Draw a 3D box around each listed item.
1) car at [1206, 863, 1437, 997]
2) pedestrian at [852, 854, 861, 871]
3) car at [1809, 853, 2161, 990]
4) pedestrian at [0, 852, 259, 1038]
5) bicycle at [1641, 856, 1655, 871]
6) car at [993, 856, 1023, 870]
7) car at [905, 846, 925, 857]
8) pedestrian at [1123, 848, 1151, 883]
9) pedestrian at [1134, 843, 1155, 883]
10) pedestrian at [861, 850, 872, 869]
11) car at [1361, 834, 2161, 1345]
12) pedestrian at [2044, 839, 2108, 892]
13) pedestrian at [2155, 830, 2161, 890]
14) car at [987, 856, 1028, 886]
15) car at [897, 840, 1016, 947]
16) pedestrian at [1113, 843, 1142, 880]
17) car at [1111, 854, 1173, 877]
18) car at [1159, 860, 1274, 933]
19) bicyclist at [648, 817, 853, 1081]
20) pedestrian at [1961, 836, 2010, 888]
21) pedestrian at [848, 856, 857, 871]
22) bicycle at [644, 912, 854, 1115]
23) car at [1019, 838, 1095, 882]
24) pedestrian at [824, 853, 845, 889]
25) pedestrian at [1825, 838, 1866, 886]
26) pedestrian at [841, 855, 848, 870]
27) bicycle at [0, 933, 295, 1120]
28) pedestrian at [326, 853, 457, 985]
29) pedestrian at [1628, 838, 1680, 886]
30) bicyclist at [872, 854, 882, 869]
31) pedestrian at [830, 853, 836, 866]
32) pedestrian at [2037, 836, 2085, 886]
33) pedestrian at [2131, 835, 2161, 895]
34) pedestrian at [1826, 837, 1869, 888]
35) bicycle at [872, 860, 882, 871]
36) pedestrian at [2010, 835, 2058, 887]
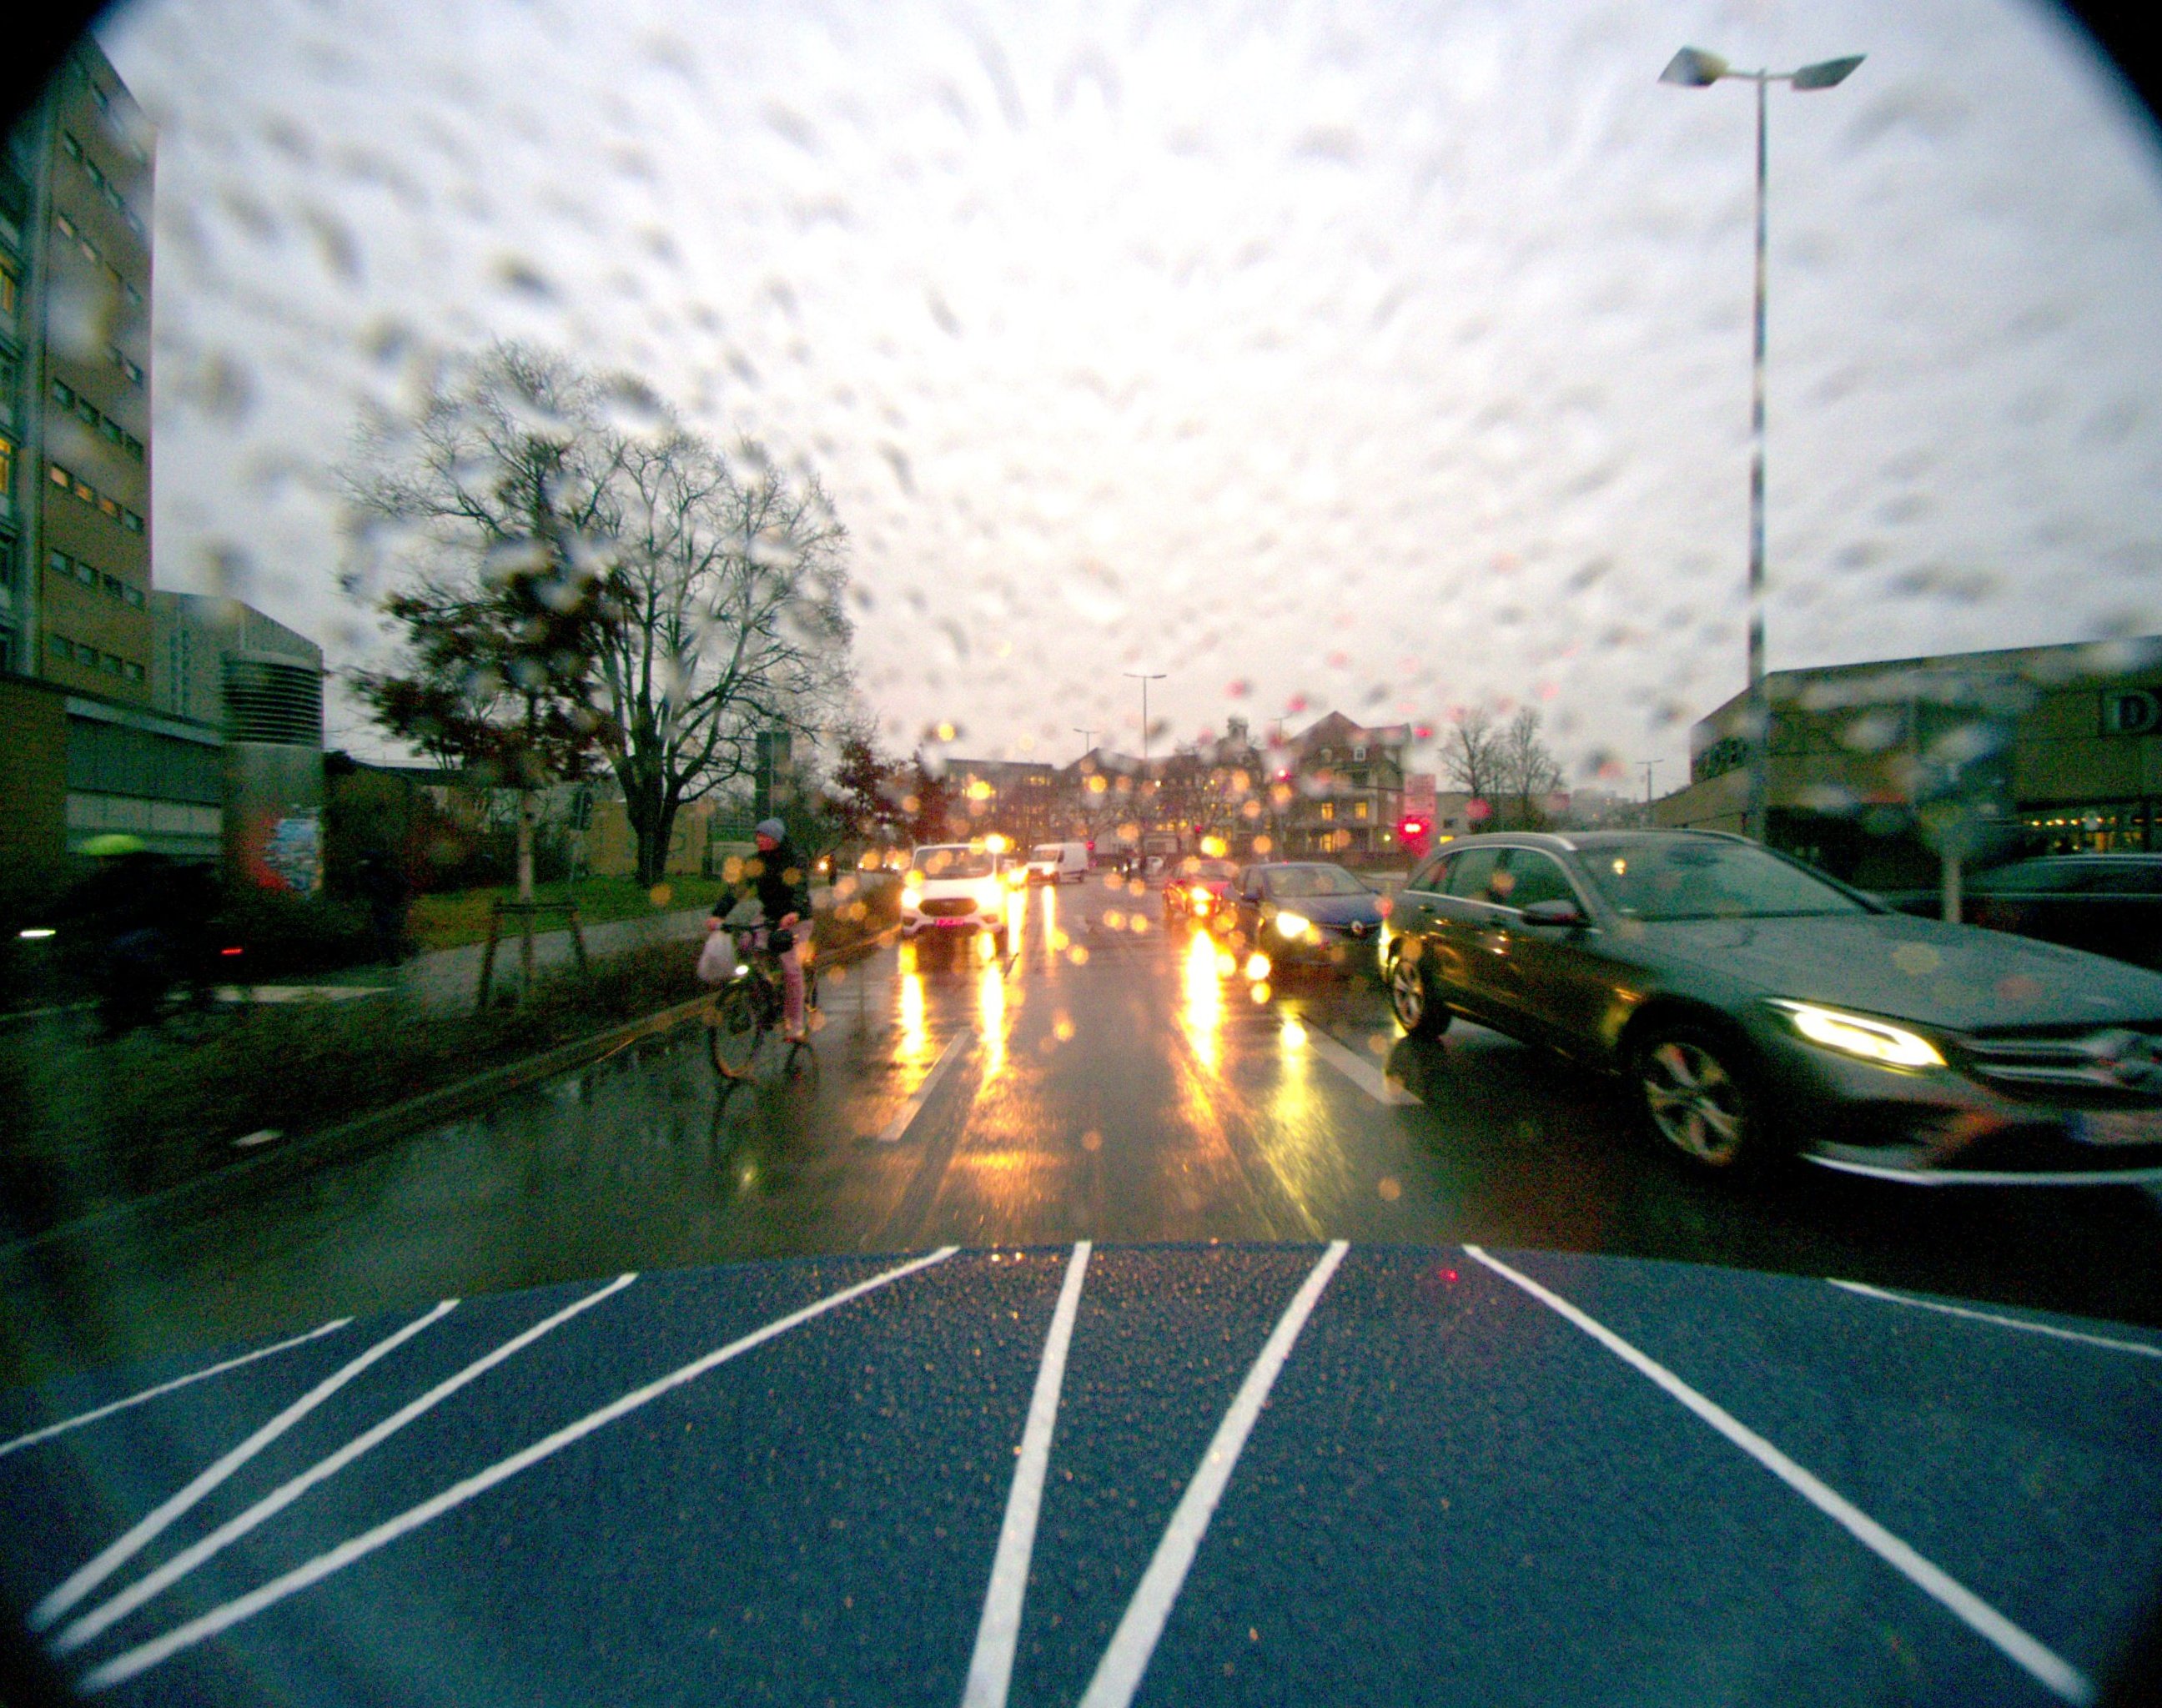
[{"bbox_3d":[3.088,0.881,10.704,1.664,1.396,4.118,-2,0,-4],"label":"car"},{"bbox_3d":[-25.271,0.947,85.450,0.934,1.815,0.832,0,1,-22],"label":"pedestrian"},{"bbox_3d":[12.281,0.723,9.324,1.811,1.411,4.820,-1,0,-6],"label":"car"},{"bbox_3d":[-7.161,0.641,5.779,0.877,1.309,0.848,0,1,-2],"label":"pedestrian"},{"bbox_3d":[45.427,0.779,60.866,0.645,1.097,2.757,-2,-3,33],"label":"bicycle"},{"bbox_3d":[-7.872,0.937,81.761,1.934,1.368,4.489,0,0,-22],"label":"car"},{"bbox_3d":[-24.272,-0.334,110.911,2.002,1.558,4.752,1,0,-22],"label":"car"},{"bbox_3d":[3.036,0.649,41.139,1.037,1.846,1.068,1,-2,-38],"label":"pedestrian"},{"bbox_3d":[3.228,0.472,38.841,0.848,1.993,1.109,-1,-2,-6],"label":"pedestrian"},{"bbox_3d":[-20.119,0.504,71.171,0.934,1.815,0.832,0,1,-22],"label":"pedestrian"},{"bbox_3d":[3.543,0.753,4.750,1.790,1.591,4.540,-3,0,-1],"label":"car"},{"bbox_3d":[30.690,0.361,23.455,0.854,1.593,0.967,0,0,29],"label":"pedestrian"},{"bbox_3d":[34.678,0.184,23.626,1.120,1.907,1.065,0,0,31],"label":"pedestrian"},{"bbox_3d":[-3.832,0.925,40.263,1.754,1.494,4.319,-1,-2,-1],"label":"car"},{"bbox_3d":[-2.695,0.804,16.299,2.139,1.909,5.014,0,-2,-10],"label":"car"},{"bbox_3d":[2.626,0.450,42.818,1.032,2.037,1.218,-3,-3,41],"label":"pedestrian"},{"bbox_3d":[4.572,0.850,56.729,4.827,1.634,1.833,0,1,-42],"label":"car"},{"bbox_3d":[3.121,0.926,18.290,1.705,1.473,3.870,-3,0,-5],"label":"car"},{"bbox_3d":[-2.559,0.683,6.071,1.026,1.872,1.236,-2,1,0],"label":"bicyclist"},{"bbox_3d":[30.605,0.272,25.711,0.741,1.716,0.744,0,0,7],"label":"pedestrian"},{"bbox_3d":[-27.002,1.150,89.919,0.934,1.815,0.832,0,1,-22],"label":"pedestrian"},{"bbox_3d":[-2.547,1.162,6.129,0.794,1.215,1.904,-2,0,1],"label":"bicycle"},{"bbox_3d":[-1.375,0.445,47.291,2.342,2.502,5.879,-2,-2,24],"label":"car"},{"bbox_3d":[-11.785,0.814,36.363,0.913,1.677,0.926,1,-2,-17],"label":"pedestrian"},{"bbox_3d":[27.699,0.287,27.543,0.741,1.716,0.744,0,0,7],"label":"pedestrian"},{"bbox_3d":[-30.631,1.108,98.433,0.767,2.002,0.908,0,1,-24],"label":"pedestrian"},{"bbox_3d":[-7.073,1.171,5.569,0.563,0.941,2.094,1,1,-4],"label":"bicycle"},{"bbox_3d":[-9.297,0.835,10.295,0.809,1.678,1.070,1,1,-4],"label":"pedestrian"},{"bbox_3d":[22.821,0.344,30.283,1.036,1.846,1.233,0,-2,-23],"label":"pedestrian"},{"bbox_3d":[-22.235,0.831,82.738,0.807,1.608,1.084,3,0,-21],"label":"bicyclist"},{"bbox_3d":[-37.884,0.822,116.128,0.767,2.002,0.771,0,1,-24],"label":"pedestrian"},{"bbox_3d":[34.139,0.230,26.466,0.743,1.716,0.743,0,0,-9],"label":"pedestrian"},{"bbox_3d":[31.604,0.331,22.266,0.801,1.740,0.761,0,0,-18],"label":"pedestrian"},{"bbox_3d":[26.641,0.291,26.425,0.662,1.757,0.832,0,0,-17],"label":"pedestrian"},{"bbox_3d":[-22.204,1.286,82.628,0.807,1.134,2.209,3,-1,-21],"label":"bicycle"},{"bbox_3d":[31.864,0.237,25.417,0.743,1.716,0.743,0,0,-12],"label":"pedestrian"}]
